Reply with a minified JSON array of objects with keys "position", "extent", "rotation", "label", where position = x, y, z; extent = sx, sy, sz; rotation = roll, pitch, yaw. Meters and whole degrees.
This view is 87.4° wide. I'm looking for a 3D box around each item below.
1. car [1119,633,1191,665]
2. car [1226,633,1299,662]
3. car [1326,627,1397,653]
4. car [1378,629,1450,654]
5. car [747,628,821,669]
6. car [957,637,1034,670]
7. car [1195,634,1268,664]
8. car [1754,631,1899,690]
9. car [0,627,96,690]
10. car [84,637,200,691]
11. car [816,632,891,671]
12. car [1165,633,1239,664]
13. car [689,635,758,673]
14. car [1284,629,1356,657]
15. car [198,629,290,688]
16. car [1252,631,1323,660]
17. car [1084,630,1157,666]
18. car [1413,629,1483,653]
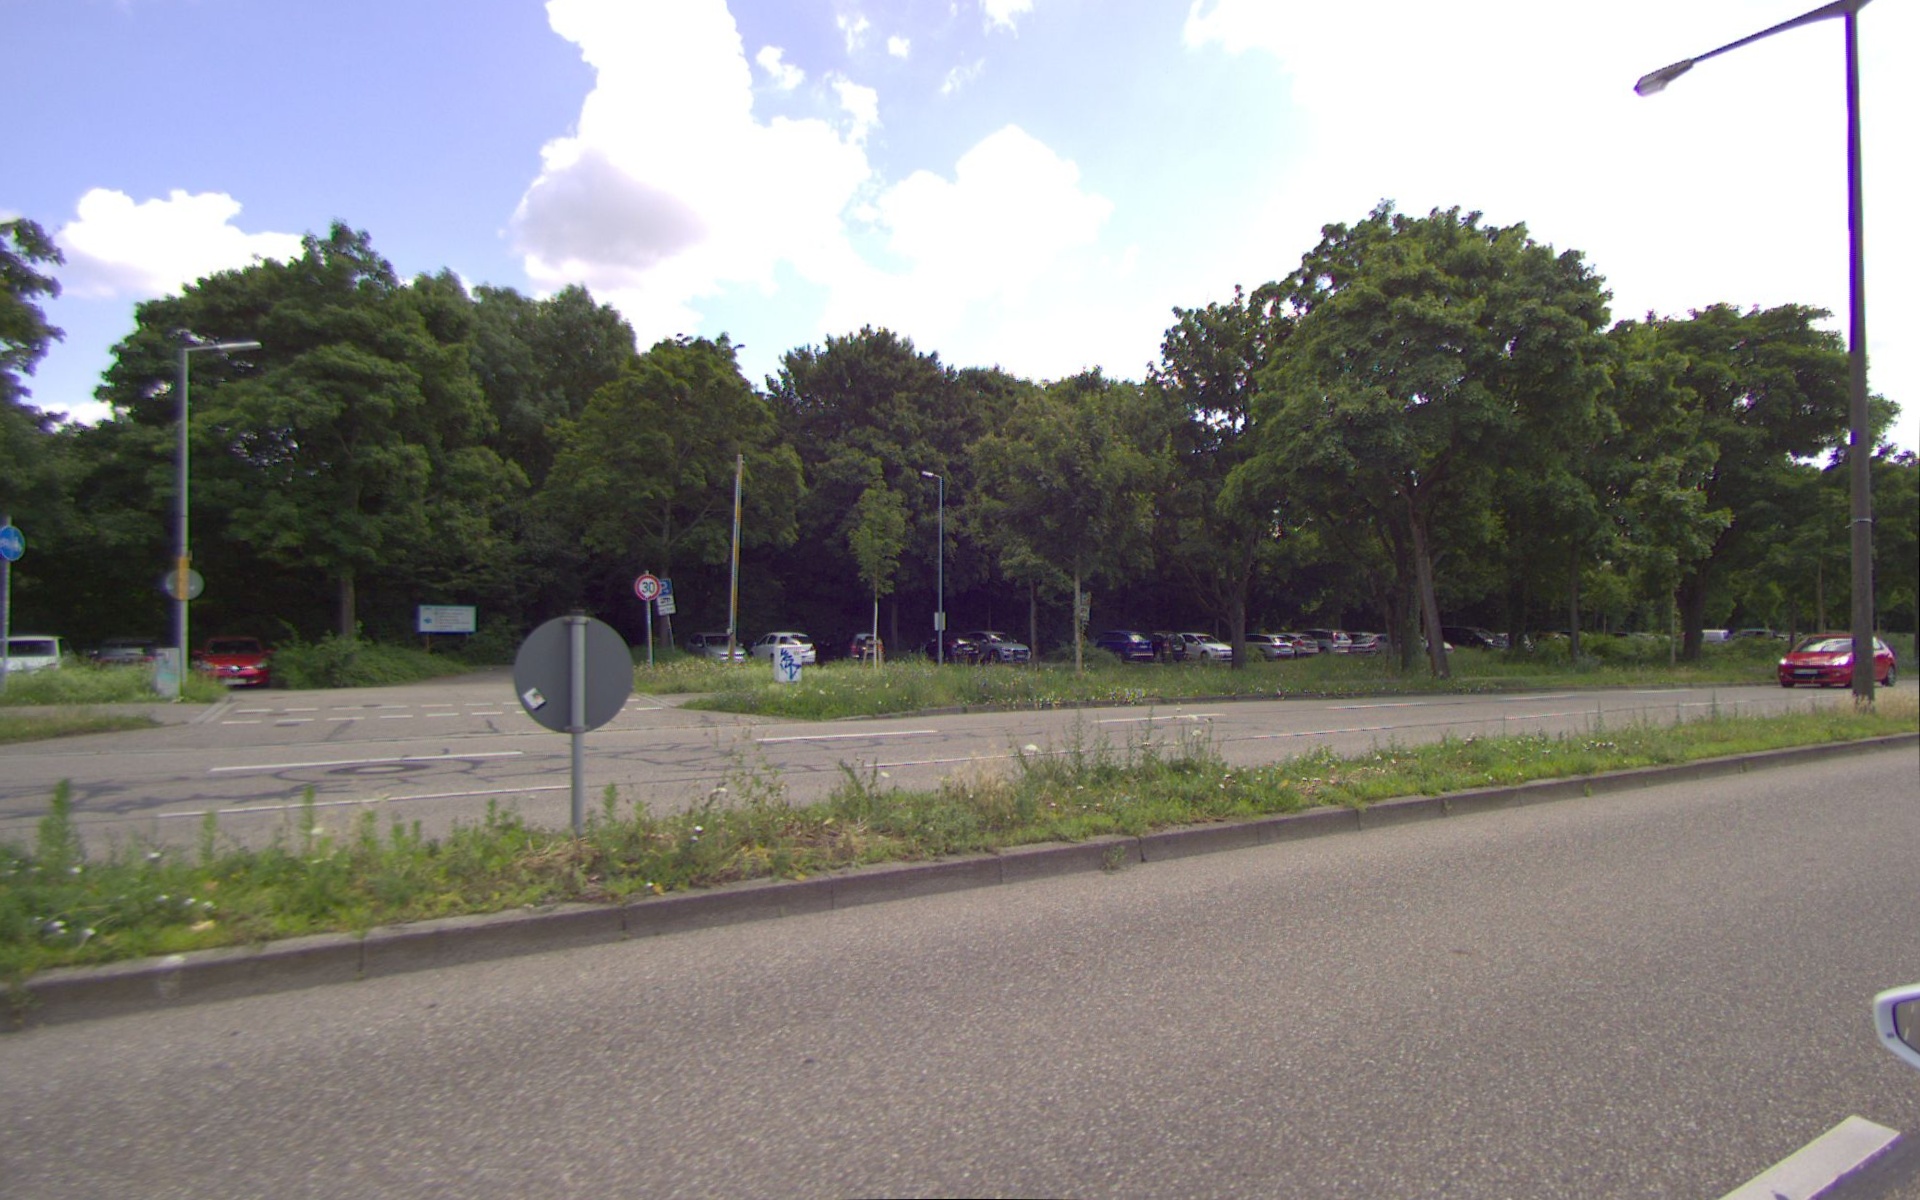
[{"position":[9.989,2.484,51.694],"extent":[1.762,1.406,3.772],"rotation":[1,0,-26],"label":"car"},{"position":[16.475,2.558,54.845],"extent":[1.762,1.406,3.772],"rotation":[1,0,-26],"label":"car"},{"position":[23.889,2.366,59.878],"extent":[1.762,1.406,3.772],"rotation":[1,0,-26],"label":"car"},{"position":[27.968,2.530,61.969],"extent":[1.762,1.406,3.772],"rotation":[1,0,-26],"label":"car"},{"position":[-7.160,1.918,40.632],"extent":[1.764,1.447,3.767],"rotation":[1,0,-30],"label":"car"},{"position":[1.572,2.421,45.845],"extent":[1.764,1.264,3.767],"rotation":[1,0,-30],"label":"car"},{"position":[14.505,2.609,53.830],"extent":[1.762,1.406,3.772],"rotation":[1,0,-26],"label":"car"},{"position":[24.865,1.682,28.820],"extent":[3.749,1.528,1.872],"rotation":[1,0,-27],"label":"car"},{"position":[-25.502,1.560,27.693],"extent":[1.763,1.528,3.769],"rotation":[1,0,-28],"label":"car"},{"position":[-23.281,1.766,28.724],"extent":[1.762,1.284,3.771],"rotation":[1,0,-26],"label":"car"},{"position":[-4.493,2.122,42.033],"extent":[1.764,1.405,3.767],"rotation":[1,0,-30],"label":"car"},{"position":[12.620,2.519,52.528],"extent":[1.762,1.406,3.772],"rotation":[1,0,-26],"label":"car"},{"position":[-9.336,2.079,39.465],"extent":[1.763,1.264,3.769],"rotation":[1,0,-28],"label":"car"},{"position":[20.729,2.446,58.031],"extent":[1.762,1.406,3.772],"rotation":[1,0,-26],"label":"car"},{"position":[-21.415,1.700,30.194],"extent":[1.763,1.528,3.769],"rotation":[1,0,-28],"label":"car"},{"position":[18.432,2.538,56.683],"extent":[1.761,1.406,3.774],"rotation":[1,0,-25],"label":"car"},{"position":[7.911,2.344,49.821],"extent":[1.762,1.589,3.772],"rotation":[1,0,-26],"label":"car"},{"position":[31.182,2.596,64.268],"extent":[1.762,1.406,3.772],"rotation":[1,0,-26],"label":"car"}]
